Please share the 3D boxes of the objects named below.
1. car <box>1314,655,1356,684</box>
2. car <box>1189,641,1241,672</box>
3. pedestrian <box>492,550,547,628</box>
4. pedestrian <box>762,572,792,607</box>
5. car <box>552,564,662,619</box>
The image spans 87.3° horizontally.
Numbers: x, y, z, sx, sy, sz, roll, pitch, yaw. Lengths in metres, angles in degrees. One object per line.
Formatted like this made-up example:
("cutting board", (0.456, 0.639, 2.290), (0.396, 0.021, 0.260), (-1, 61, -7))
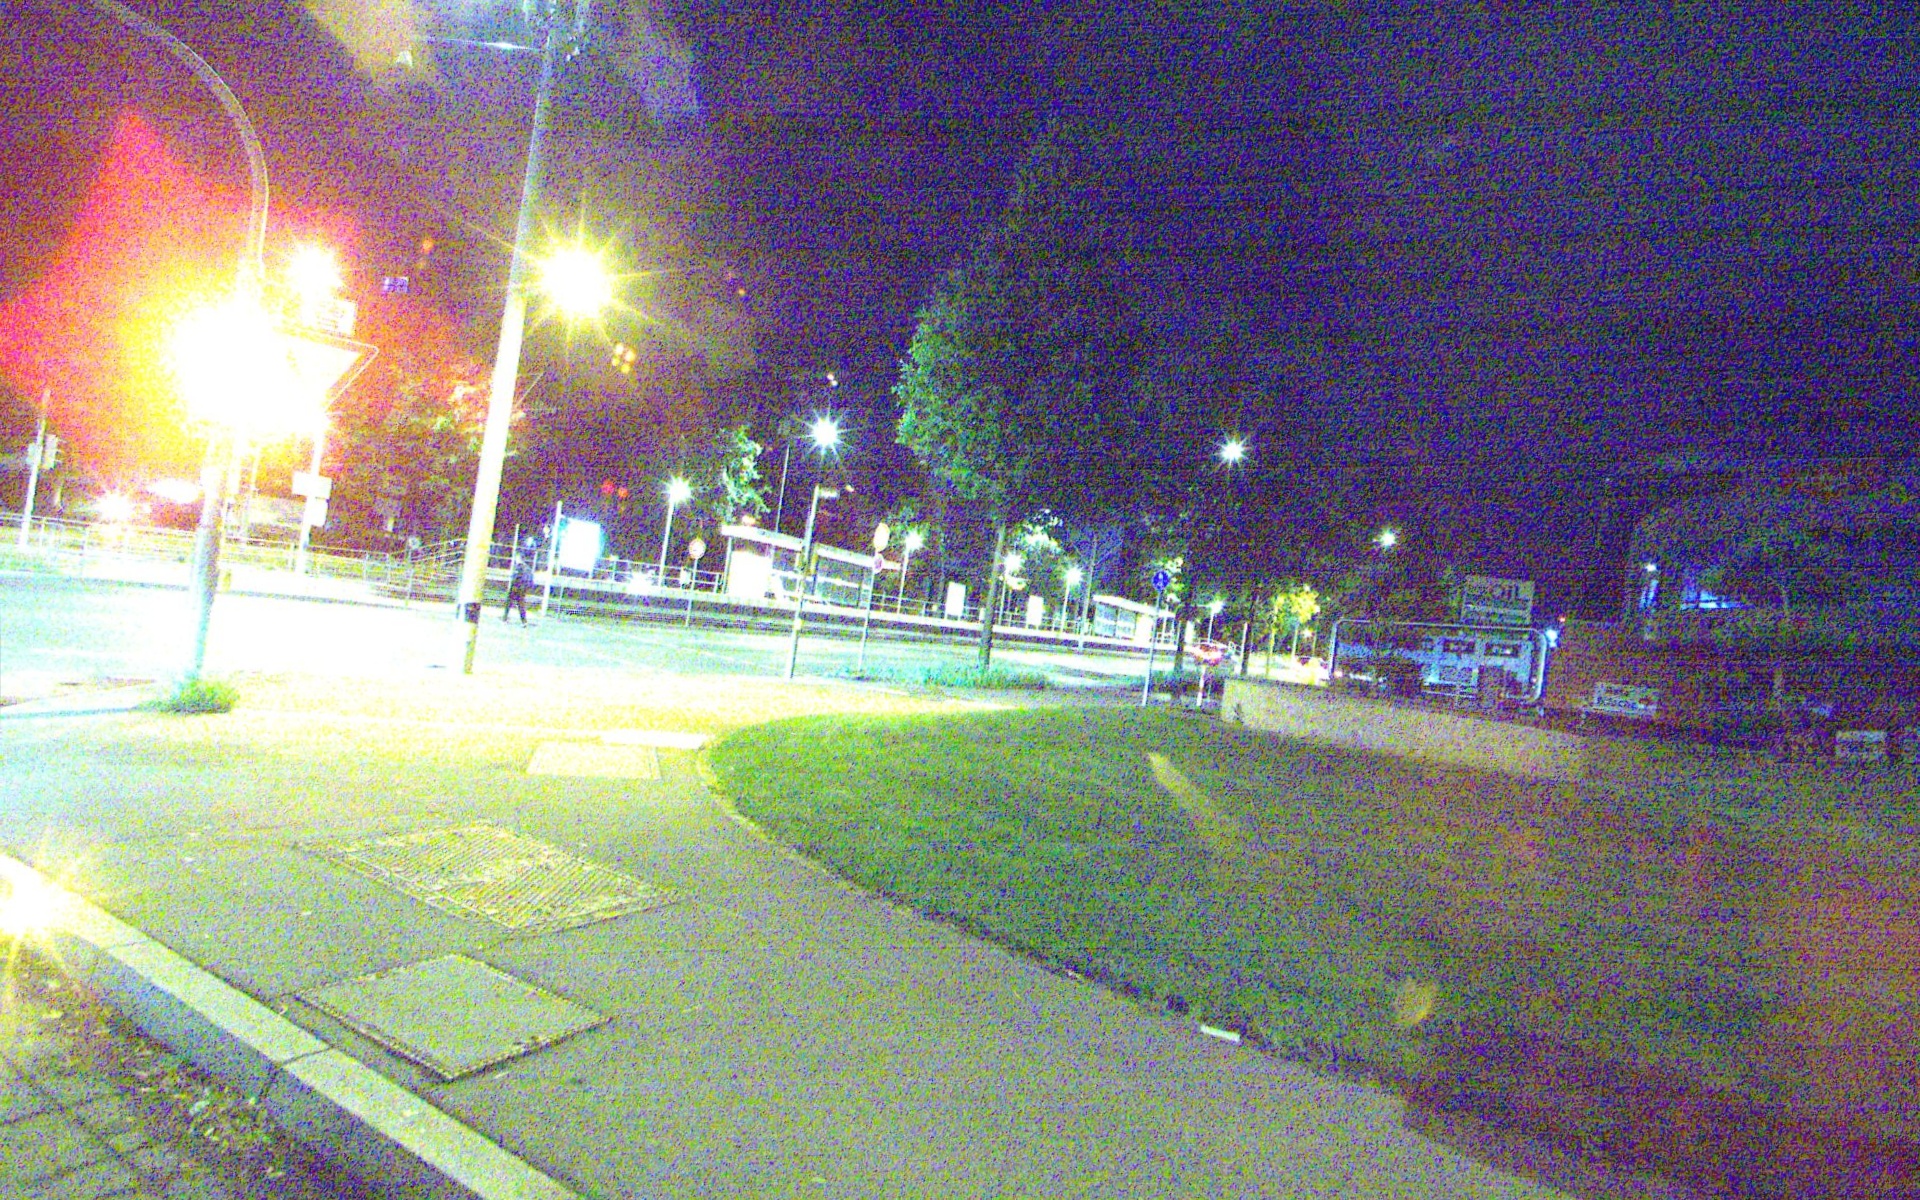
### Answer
("car", (26.482, 4.872, 70.989), (1.780, 1.684, 3.988), (10, 3, 33))
("car", (17.332, 3.846, 68.243), (1.834, 1.679, 4.449), (9, 0, 35))
("pedestrian", (-10.468, -0.251, 23.907), (0.820, 1.767, 0.755), (6, 1, 31))
("pedestrian", (-8.888, -0.505, 48.899), (1.129, 1.518, 1.073), (6, -1, -19))
("car", (-15.376, -0.326, 43.976), (1.970, 2.039, 3.985), (6, 0, 36))
